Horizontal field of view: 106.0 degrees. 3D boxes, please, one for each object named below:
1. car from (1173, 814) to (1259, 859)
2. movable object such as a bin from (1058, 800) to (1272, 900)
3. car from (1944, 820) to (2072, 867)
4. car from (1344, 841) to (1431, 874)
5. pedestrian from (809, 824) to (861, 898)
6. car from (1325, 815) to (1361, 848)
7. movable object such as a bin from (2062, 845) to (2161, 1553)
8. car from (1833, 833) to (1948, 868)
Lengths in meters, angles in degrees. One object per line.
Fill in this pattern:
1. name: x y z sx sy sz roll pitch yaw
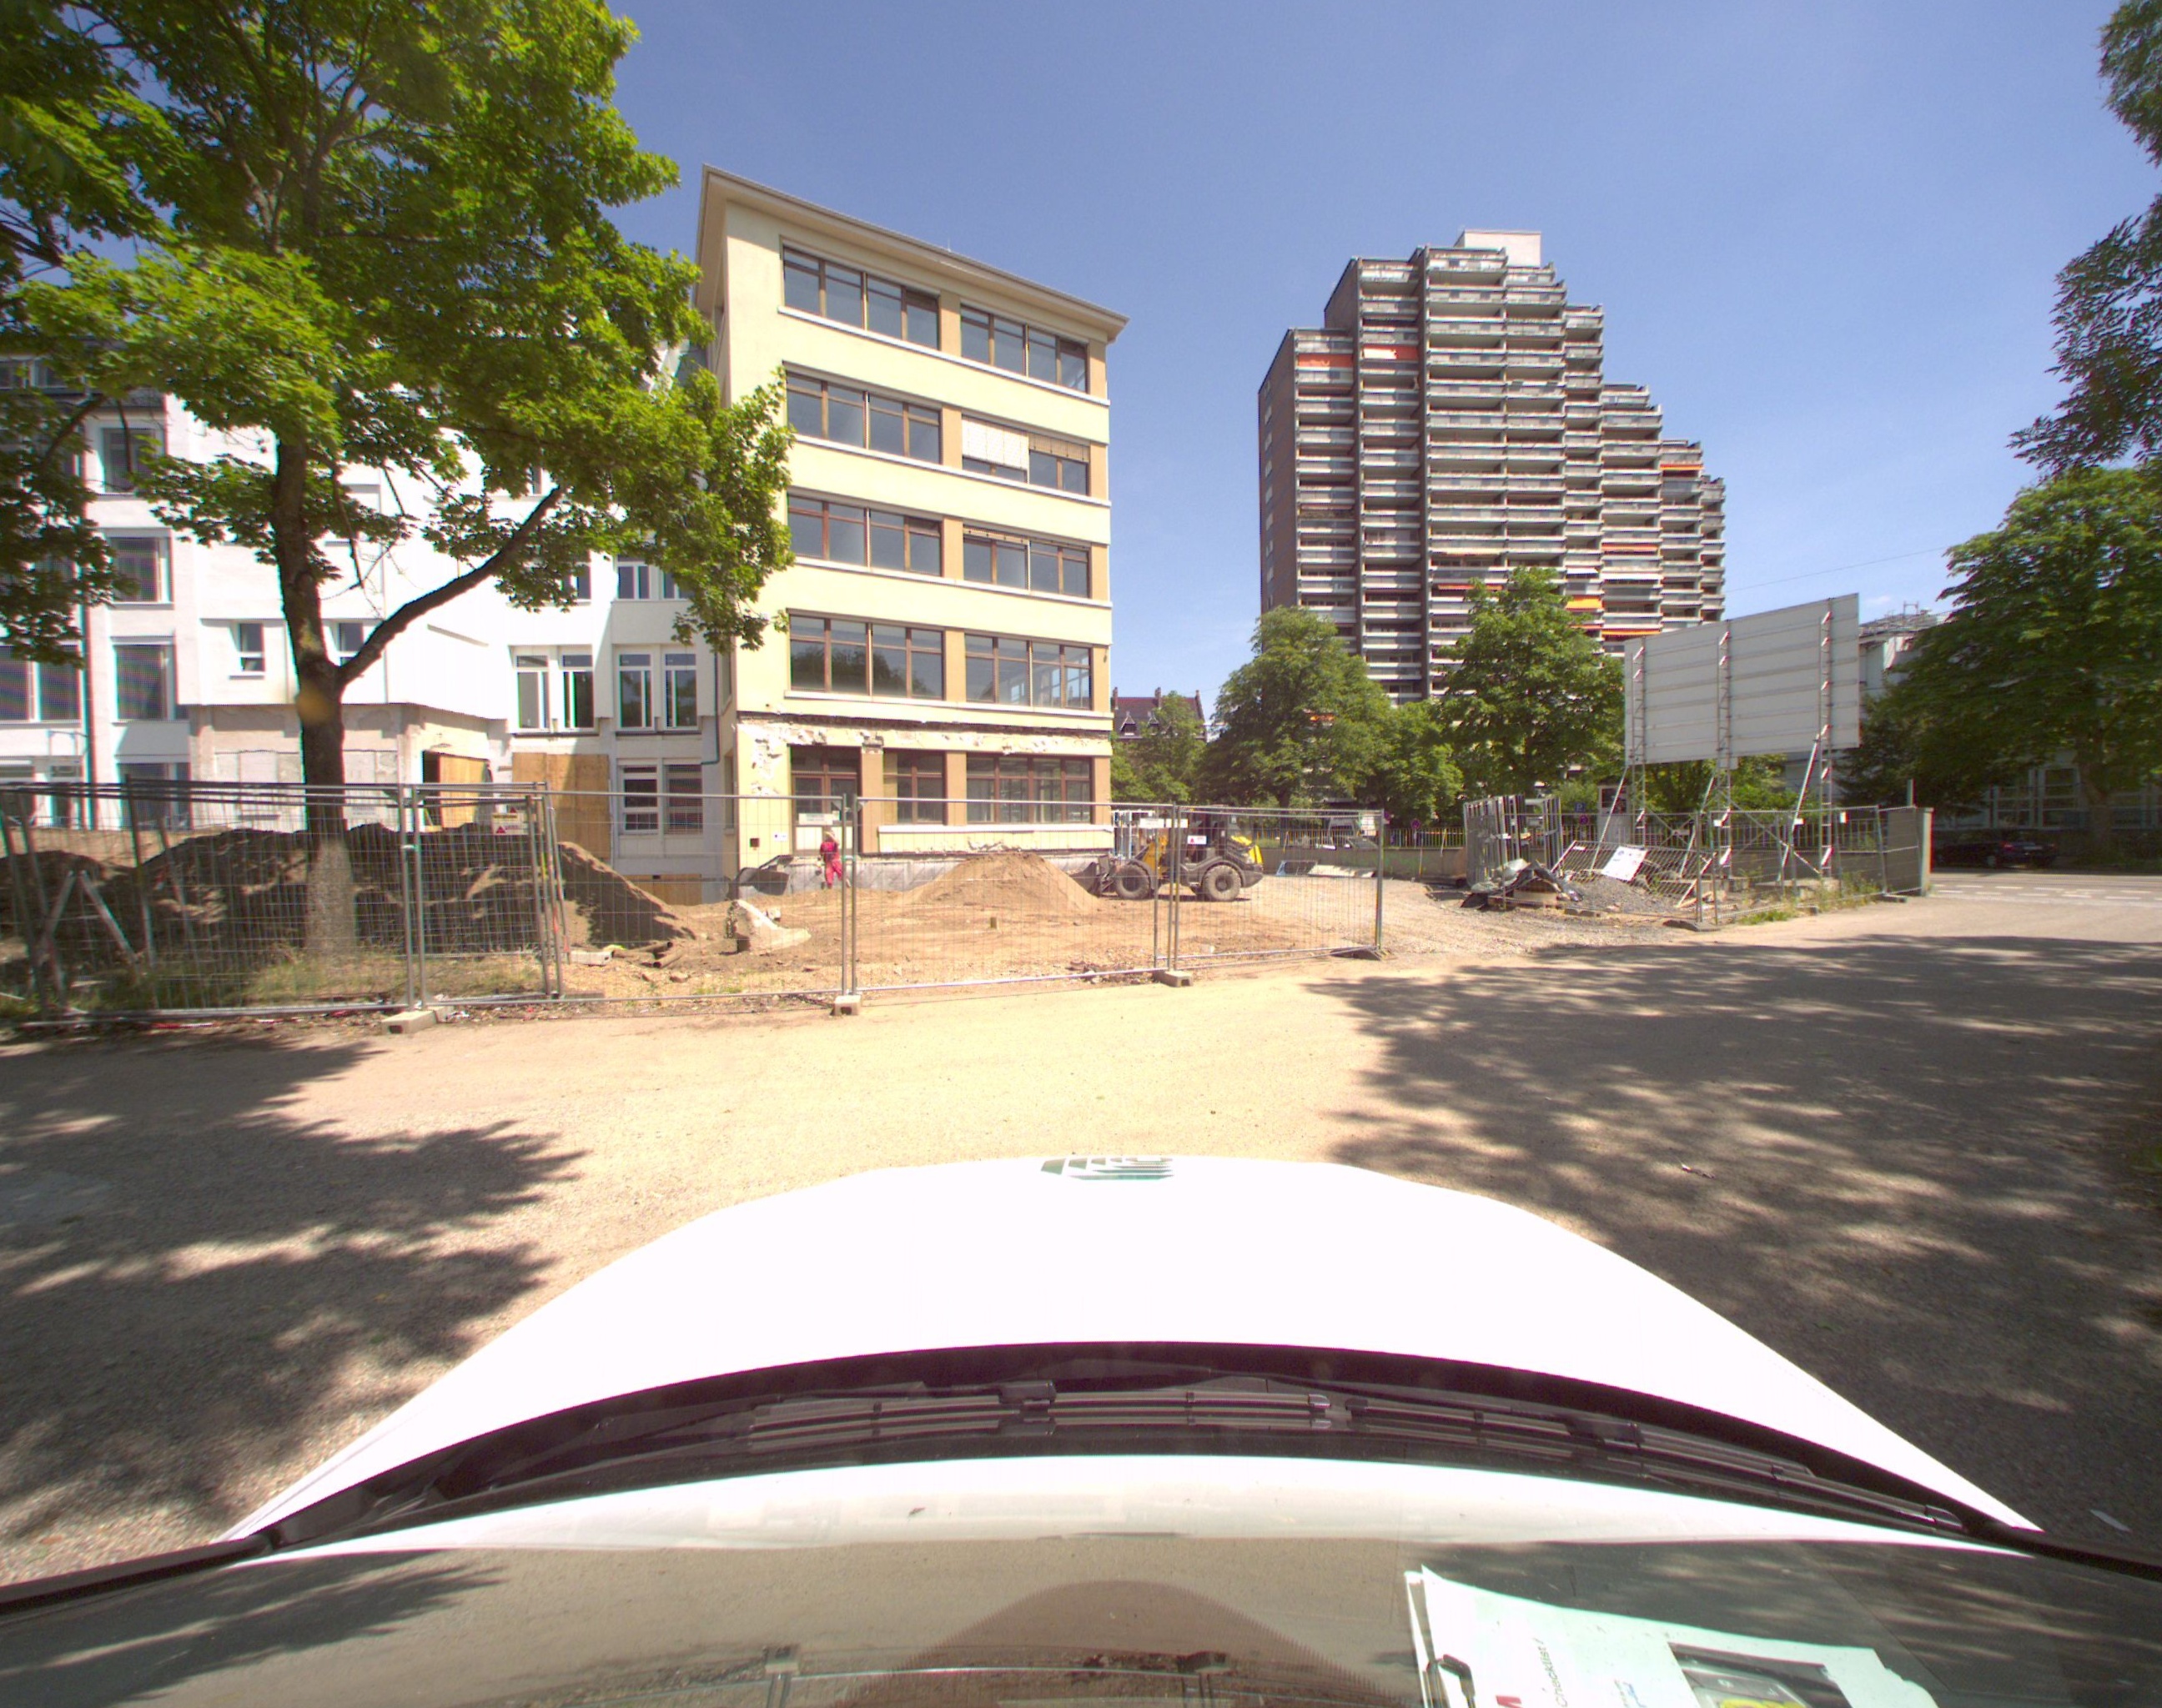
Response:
1. car: 7.598 -0.960 46.458 2.006 2.416 5.194 -1 1 -29
2. movable object such as a bin: 2.164 -0.129 21.792 5.383 2.464 2.369 1 1 1
3. car: 34.725 -0.396 30.653 1.992 1.629 3.955 -1 1 30
4. car: 13.563 0.141 36.017 3.736 1.320 1.599 -1 1 -30
5. pedestrian: -6.394 0.169 21.185 0.991 1.846 0.906 -1 1 -39
6. car: 18.908 -1.596 58.582 2.165 2.258 4.895 -1 1 21
7. movable object such as a bin: 2.747 0.712 1.153 1.072 1.458 1.377 -1 1 1
8. car: 32.877 -0.174 33.227 1.898 1.310 3.951 -1 1 21
